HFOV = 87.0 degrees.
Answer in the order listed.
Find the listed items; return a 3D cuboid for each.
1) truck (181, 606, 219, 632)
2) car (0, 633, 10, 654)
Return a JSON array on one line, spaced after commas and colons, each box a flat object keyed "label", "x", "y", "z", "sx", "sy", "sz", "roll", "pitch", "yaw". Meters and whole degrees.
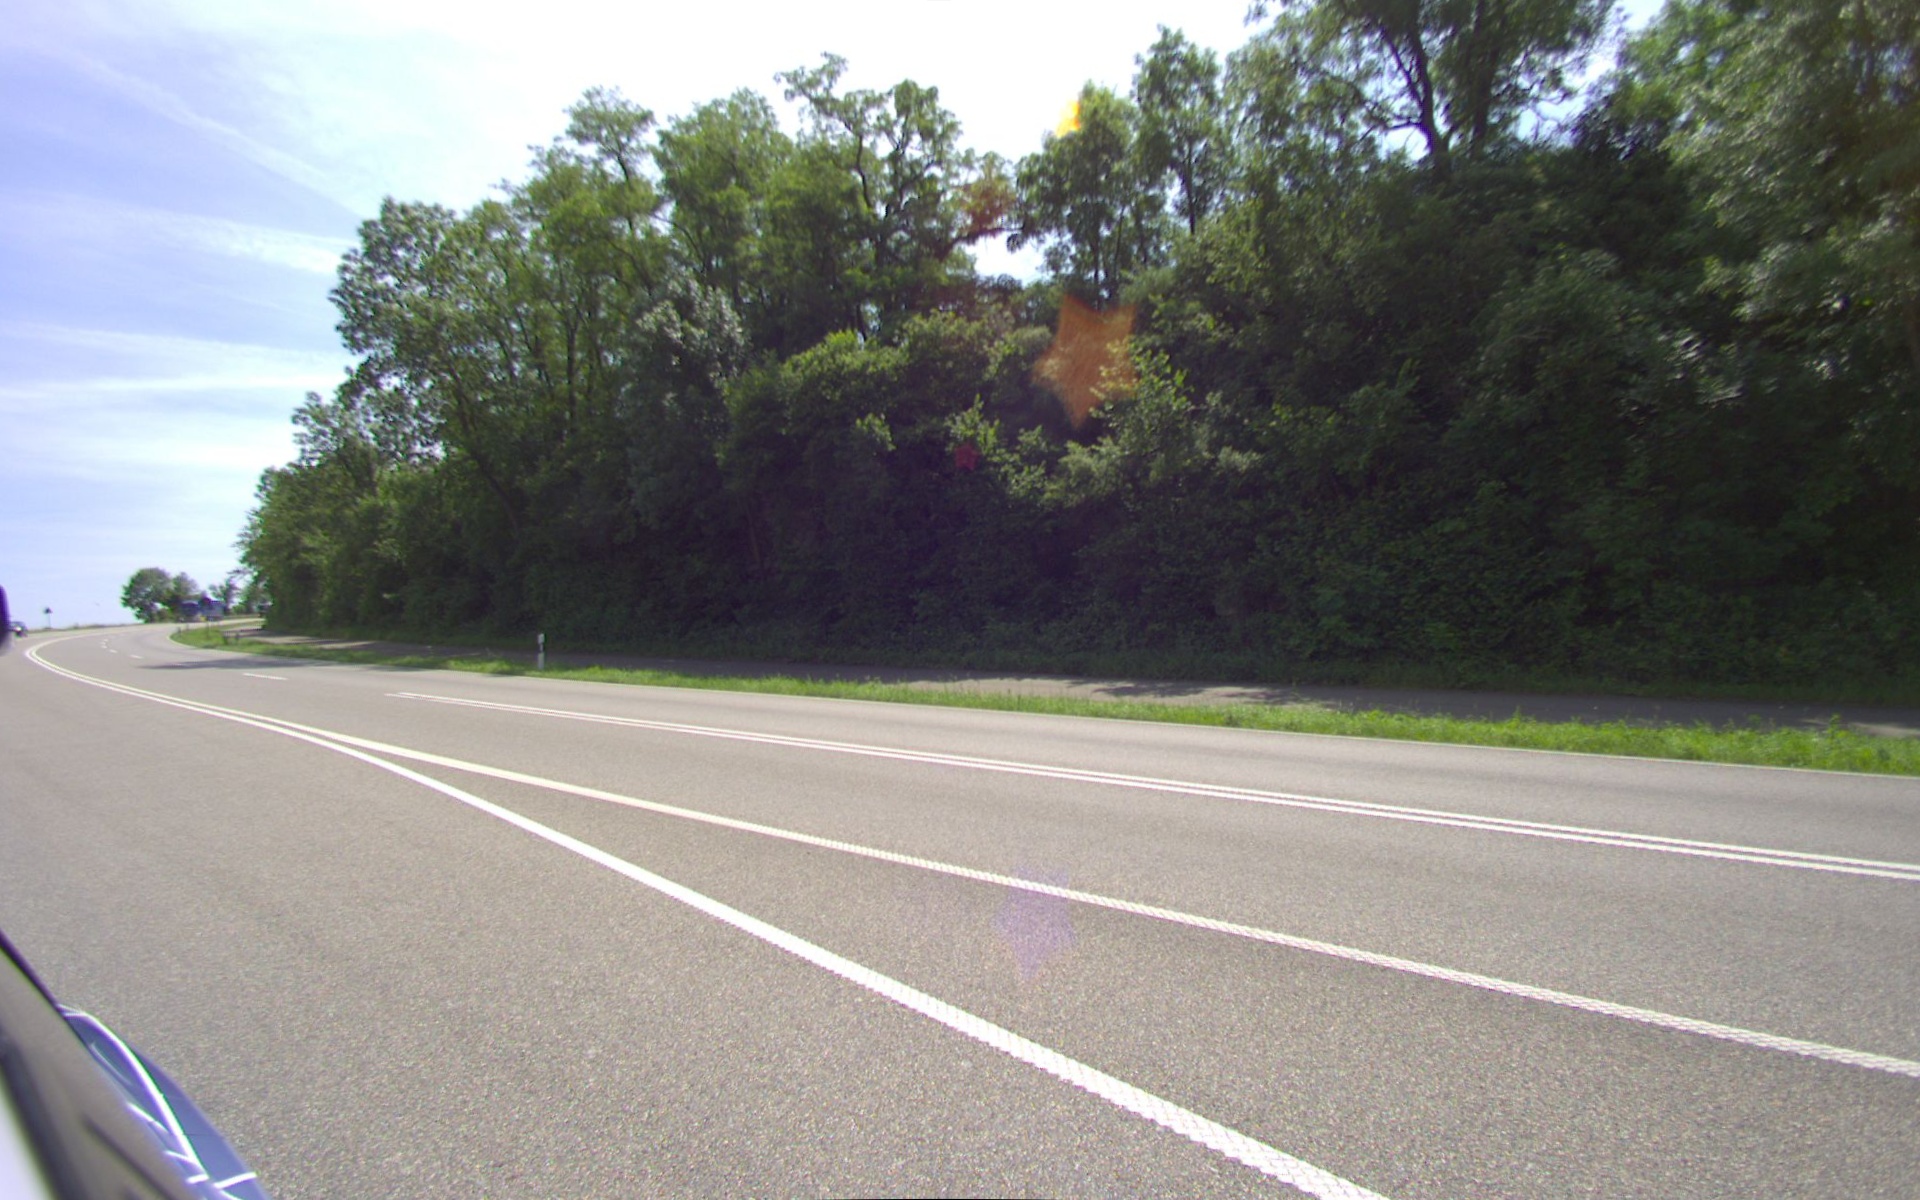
[{"label": "truck", "x": -138.589, "y": 3.464, "z": 184.674, "sx": 4.327, "sy": 4.493, "sz": 14.752, "roll": -1, "pitch": -1, "yaw": -33}, {"label": "car", "x": -89.025, "y": 4.038, "z": 93.329, "sx": 1.739, "sy": 1.874, "sz": 3.817, "roll": 0, "pitch": 0, "yaw": -39}]
